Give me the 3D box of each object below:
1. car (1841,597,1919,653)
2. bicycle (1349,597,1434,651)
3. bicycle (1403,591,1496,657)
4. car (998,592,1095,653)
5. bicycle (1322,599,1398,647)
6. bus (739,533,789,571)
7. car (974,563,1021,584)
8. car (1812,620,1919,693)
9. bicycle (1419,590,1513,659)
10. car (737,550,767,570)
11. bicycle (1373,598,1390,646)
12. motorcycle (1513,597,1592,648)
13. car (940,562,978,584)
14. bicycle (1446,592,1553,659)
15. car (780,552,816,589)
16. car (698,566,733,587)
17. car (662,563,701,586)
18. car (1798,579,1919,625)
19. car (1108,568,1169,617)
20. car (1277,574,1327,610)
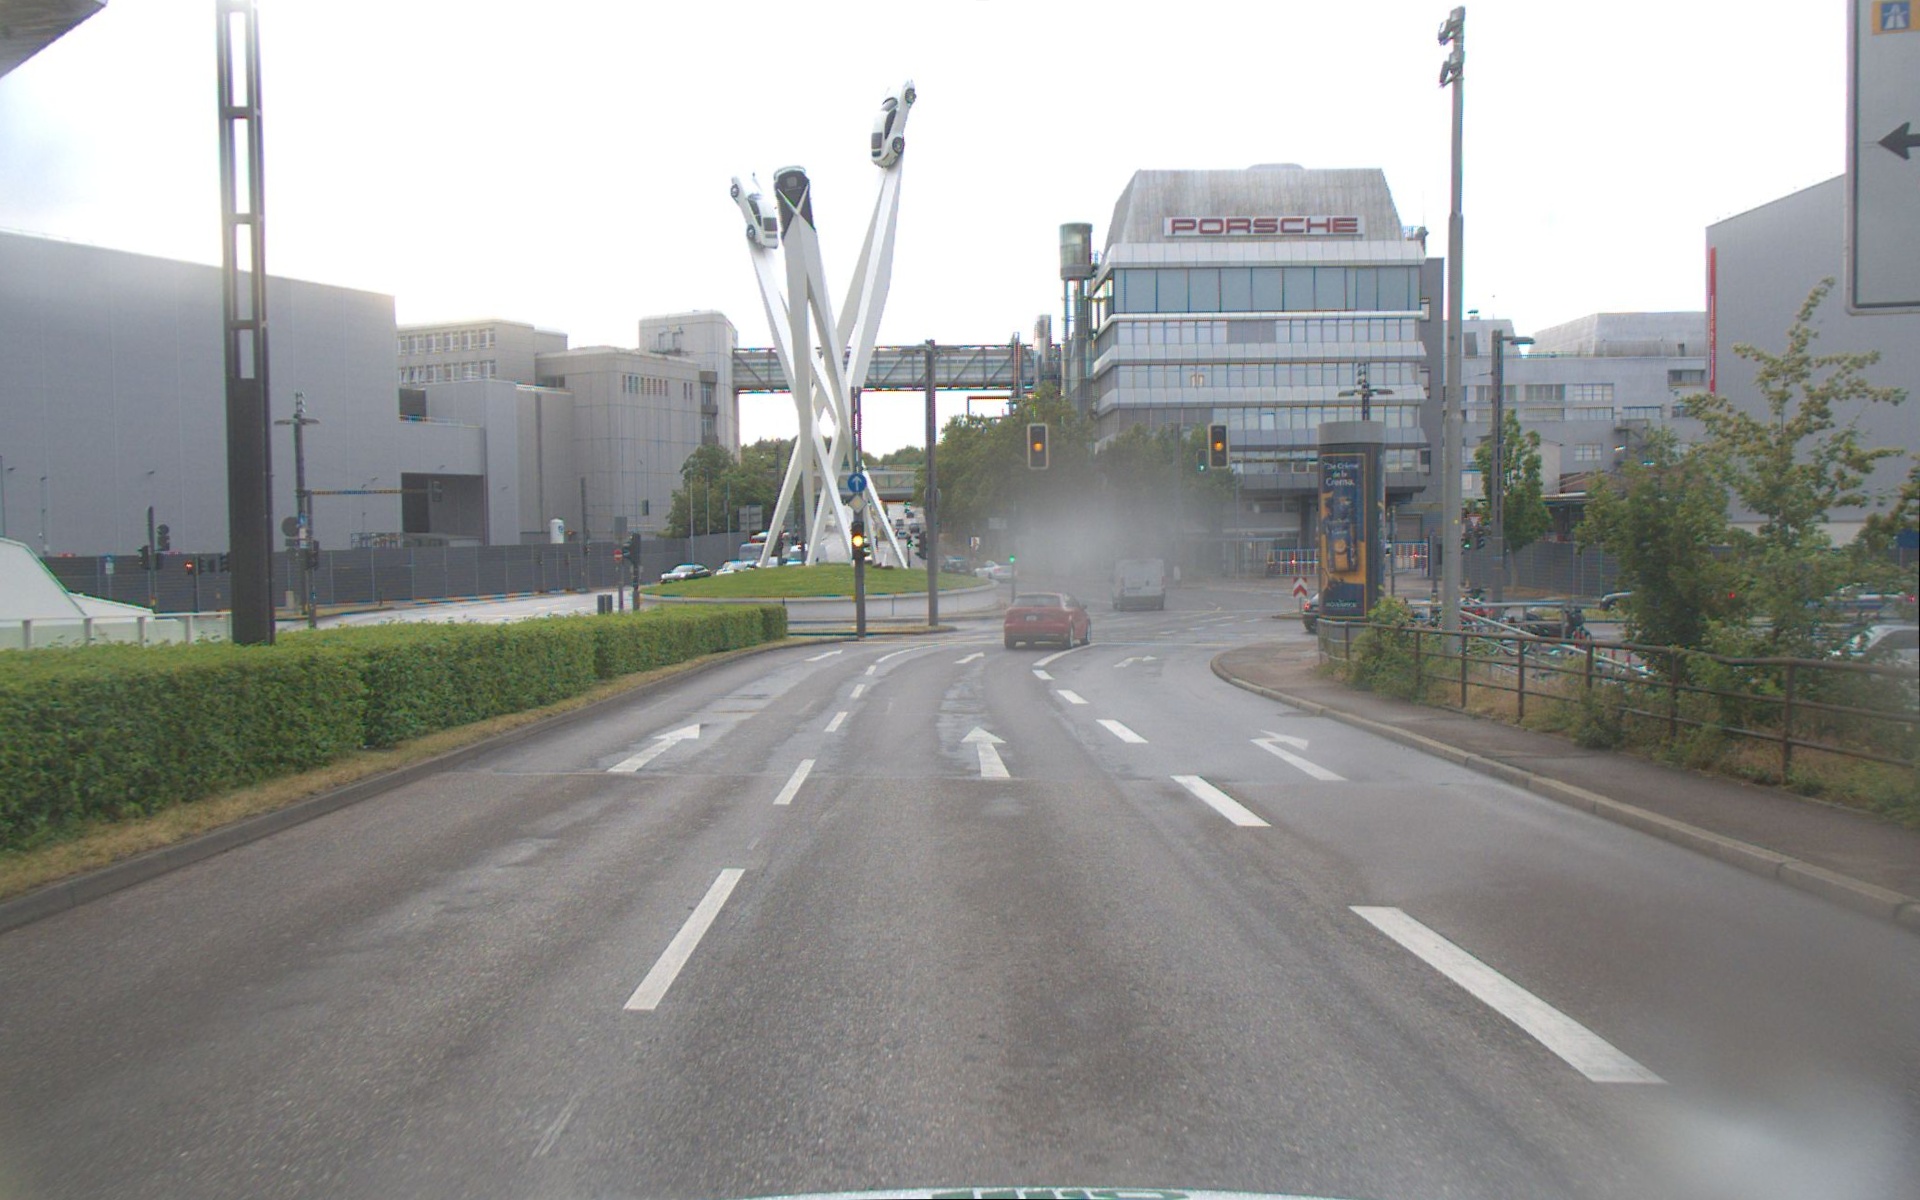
[{"bbox_3d":[27.562,0.721,47.114,1.806,1.556,4.135,1,1,-24],"label":"car"},{"bbox_3d":[9.911,0.549,38.014,1.762,1.182,0.592,-1,0,2],"label":"bicycle"},{"bbox_3d":[9.617,0.458,32.462,1.906,1.245,0.593,-1,0,-30],"label":"bicycle"},{"bbox_3d":[2.268,0.553,42.550,1.735,1.490,3.735,-1,0,15],"label":"car"},{"bbox_3d":[9.869,0.554,40.859,1.732,1.160,0.679,-1,-1,6],"label":"bicycle"},{"bbox_3d":[-17.845,-4.333,151.364,2.613,3.256,12.673,0,1,2],"label":"bus"},{"bbox_3d":[2.456,-1.734,109.079,1.645,1.323,3.858,0,0,-23],"label":"car"},{"bbox_3d":[21.677,1.286,37.928,3.474,1.507,1.695,-1,3,11],"label":"car"},{"bbox_3d":[9.710,0.456,31.728,1.907,1.245,0.593,-1,0,-32],"label":"bicycle"},{"bbox_3d":[-16.719,-3.219,133.048,1.795,1.498,4.514,-1,1,1],"label":"car"},{"bbox_3d":[10.713,0.546,42.068,0.377,1.182,2.002,-1,0,13],"label":"bicycle"},{"bbox_3d":[17.432,0.644,48.667,2.182,1.477,0.756,0,1,22],"label":"motorcycle"},{"bbox_3d":[-0.056,-1.749,107.810,1.533,1.311,3.396,0,0,-18],"label":"car"},{"bbox_3d":[10.068,0.468,30.885,1.895,1.198,0.596,-1,0,-17],"label":"bicycle"},{"bbox_3d":[-11.362,-2.082,116.422,1.952,2.489,5.427,-1,1,1],"label":"car"},{"bbox_3d":[-17.918,-1.724,121.236,1.795,1.498,4.514,-1,1,1],"label":"car"},{"bbox_3d":[-18.971,-1.745,112.912,1.795,1.498,4.514,-1,1,1],"label":"car"},{"bbox_3d":[34.709,0.038,63.797,3.909,1.629,1.901,2,2,41],"label":"car"},{"bbox_3d":[8.039,-0.331,74.983,2.187,2.144,4.954,-1,0,-1],"label":"car"},{"bbox_3d":[13.112,-0.306,63.314,1.576,1.313,3.569,-1,0,16],"label":"car"}]
